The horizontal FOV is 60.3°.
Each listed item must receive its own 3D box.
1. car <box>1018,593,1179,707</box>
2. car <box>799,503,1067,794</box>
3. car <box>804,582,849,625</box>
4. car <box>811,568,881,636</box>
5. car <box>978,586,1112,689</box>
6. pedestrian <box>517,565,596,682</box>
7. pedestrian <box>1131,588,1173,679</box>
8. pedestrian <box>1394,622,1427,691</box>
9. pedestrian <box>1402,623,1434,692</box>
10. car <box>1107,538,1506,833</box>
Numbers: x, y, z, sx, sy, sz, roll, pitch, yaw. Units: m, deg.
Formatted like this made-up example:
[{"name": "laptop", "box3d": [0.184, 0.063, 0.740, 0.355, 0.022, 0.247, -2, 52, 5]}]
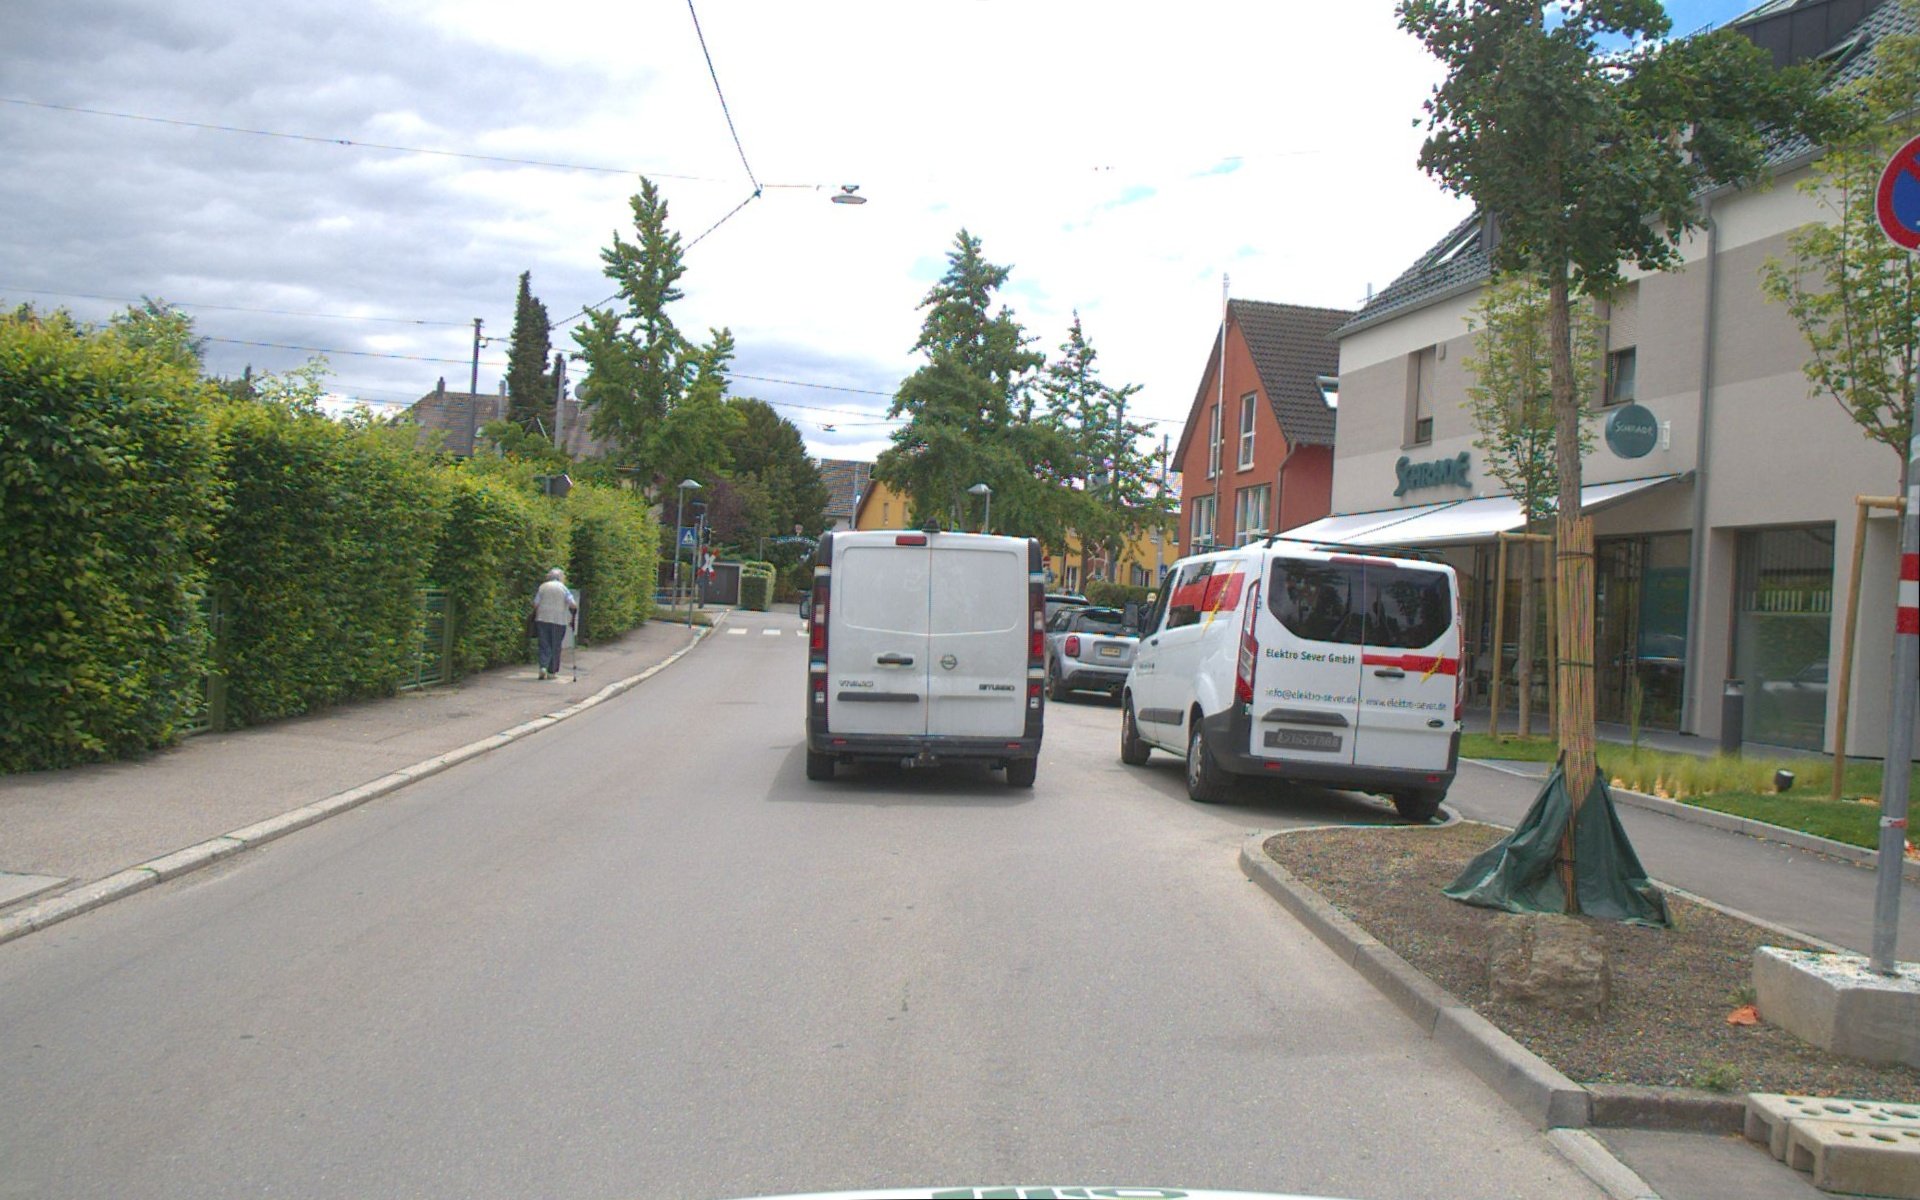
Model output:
[{"name": "car", "box3d": [2.098, 0.736, 26.022, 1.709, 1.520, 3.650, 5, -1, -7]}, {"name": "car", "box3d": [-0.339, 0.372, 14.283, 1.878, 2.037, 4.434, 3, -1, -4]}, {"name": "car", "box3d": [-6.046, 0.183, 75.201, 1.954, 1.813, 3.996, 2, -1, -4]}, {"name": "car", "box3d": [-3.420, 0.072, 49.589, 1.954, 1.880, 3.996, 2, -1, -4]}, {"name": "car", "box3d": [1.503, 0.642, 30.751, 1.670, 1.642, 4.252, 5, 0, -7]}, {"name": "pedestrian", "box3d": [-5.541, 0.321, 22.728, 0.864, 1.510, 0.452, 6, -1, -24]}, {"name": "pedestrian", "box3d": [3.602, 0.627, 31.098, 0.579, 1.634, 0.529, 5, -1, -3]}, {"name": "pedestrian", "box3d": [7.978, 1.001, 29.290, 0.413, 1.202, 0.324, 3, -1, -6]}, {"name": "pedestrian", "box3d": [8.016, 1.006, 28.952, 0.413, 1.186, 0.324, 3, -1, -6]}, {"name": "car", "box3d": [2.713, 0.636, 14.294, 1.920, 1.949, 4.896, 5, -1, -5]}]
